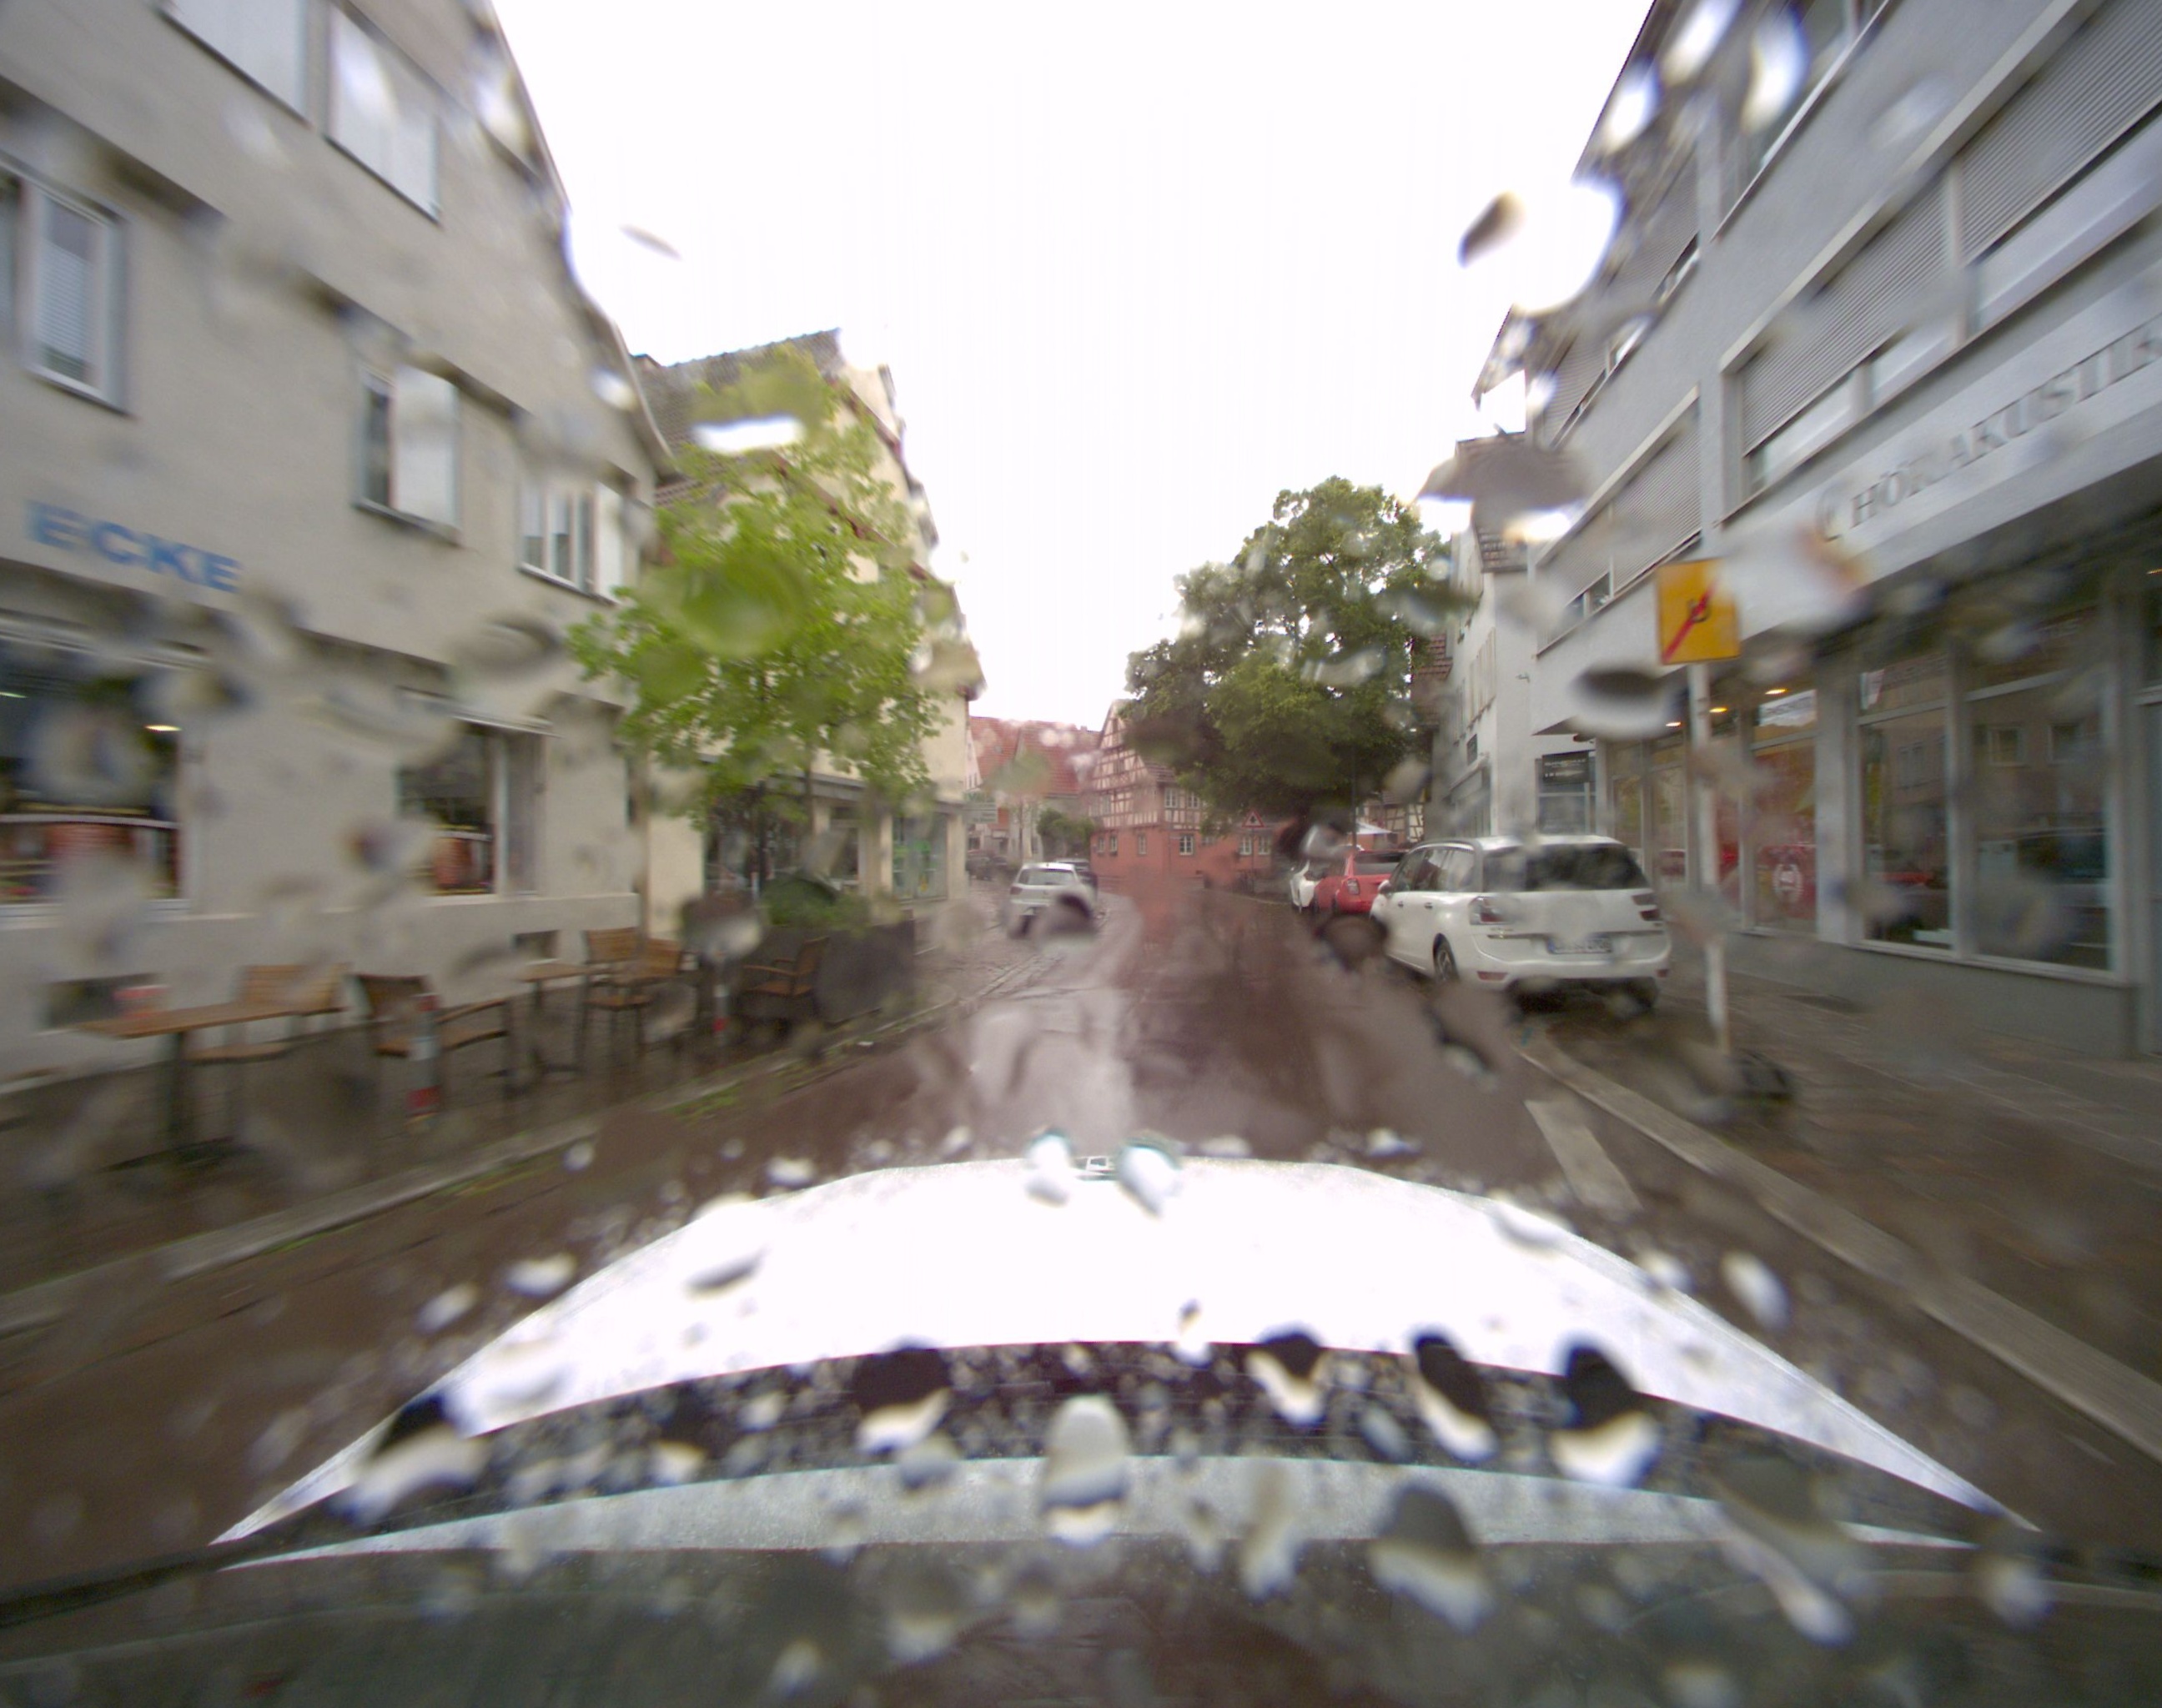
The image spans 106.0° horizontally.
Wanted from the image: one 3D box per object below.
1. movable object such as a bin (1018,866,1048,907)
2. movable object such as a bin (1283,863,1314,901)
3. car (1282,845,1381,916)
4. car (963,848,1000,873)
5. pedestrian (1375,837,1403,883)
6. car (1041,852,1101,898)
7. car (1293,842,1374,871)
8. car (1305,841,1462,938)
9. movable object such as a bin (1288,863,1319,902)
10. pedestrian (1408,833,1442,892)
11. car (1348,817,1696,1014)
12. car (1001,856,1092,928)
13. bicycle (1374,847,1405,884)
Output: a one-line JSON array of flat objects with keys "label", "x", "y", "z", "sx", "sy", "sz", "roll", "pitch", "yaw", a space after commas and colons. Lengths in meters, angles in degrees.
[{"label": "movable object such as a bin", "x": -1.382, "y": 0.927, "z": 23.479, "sx": 0.696, "sy": 1.122, "sz": 0.720, "roll": 2, "pitch": -2, "yaw": 7}, {"label": "movable object such as a bin", "x": 6.361, "y": 0.822, "z": 23.832, "sx": 0.723, "sy": 1.083, "sz": 0.604, "roll": 0, "pitch": -2, "yaw": -1}, {"label": "car", "x": 6.077, "y": 0.610, "z": 20.196, "sx": 1.777, "sy": 1.555, "sz": 3.959, "roll": -1, "pitch": -1, "yaw": 9}, {"label": "car", "x": -7.703, "y": 0.468, "z": 62.761, "sx": 1.901, "sy": 1.811, "sz": 3.971, "roll": 2, "pitch": 0, "yaw": -21}, {"label": "pedestrian", "x": 11.821, "y": 0.241, "z": 31.233, "sx": 0.902, "sy": 1.698, "sz": 0.866, "roll": -3, "pitch": -2, "yaw": 24}, {"label": "car", "x": -0.439, "y": 0.757, "z": 29.878, "sx": 1.872, "sy": 1.540, "sz": 4.391, "roll": 0, "pitch": -1, "yaw": -5}, {"label": "car", "x": 15.405, "y": 0.115, "z": 49.644, "sx": 4.624, "sy": 1.633, "sz": 1.984, "roll": -1, "pitch": 2, "yaw": -26}, {"label": "car", "x": 5.148, "y": 0.608, "z": 14.412, "sx": 1.777, "sy": 1.469, "sz": 3.957, "roll": 0, "pitch": -2, "yaw": 8}, {"label": "movable object such as a bin", "x": 6.317, "y": 0.798, "z": 23.153, "sx": 0.723, "sy": 1.093, "sz": 0.610, "roll": 0, "pitch": -2, "yaw": -1}, {"label": "pedestrian", "x": 10.159, "y": 0.256, "z": 24.089, "sx": 0.877, "sy": 1.713, "sz": 0.894, "roll": -1, "pitch": -2, "yaw": 20}, {"label": "car", "x": 4.385, "y": 0.526, "z": 9.002, "sx": 1.778, "sy": 1.599, "sz": 4.447, "roll": -2, "pitch": 0, "yaw": 6}, {"label": "car", "x": -0.700, "y": 0.792, "z": 18.661, "sx": 1.843, "sy": 1.452, "sz": 4.072, "roll": 0, "pitch": 0, "yaw": 0}, {"label": "bicycle", "x": 11.793, "y": 0.424, "z": 31.101, "sx": 0.916, "sy": 1.350, "sz": 2.228, "roll": -3, "pitch": -1, "yaw": 24}]
